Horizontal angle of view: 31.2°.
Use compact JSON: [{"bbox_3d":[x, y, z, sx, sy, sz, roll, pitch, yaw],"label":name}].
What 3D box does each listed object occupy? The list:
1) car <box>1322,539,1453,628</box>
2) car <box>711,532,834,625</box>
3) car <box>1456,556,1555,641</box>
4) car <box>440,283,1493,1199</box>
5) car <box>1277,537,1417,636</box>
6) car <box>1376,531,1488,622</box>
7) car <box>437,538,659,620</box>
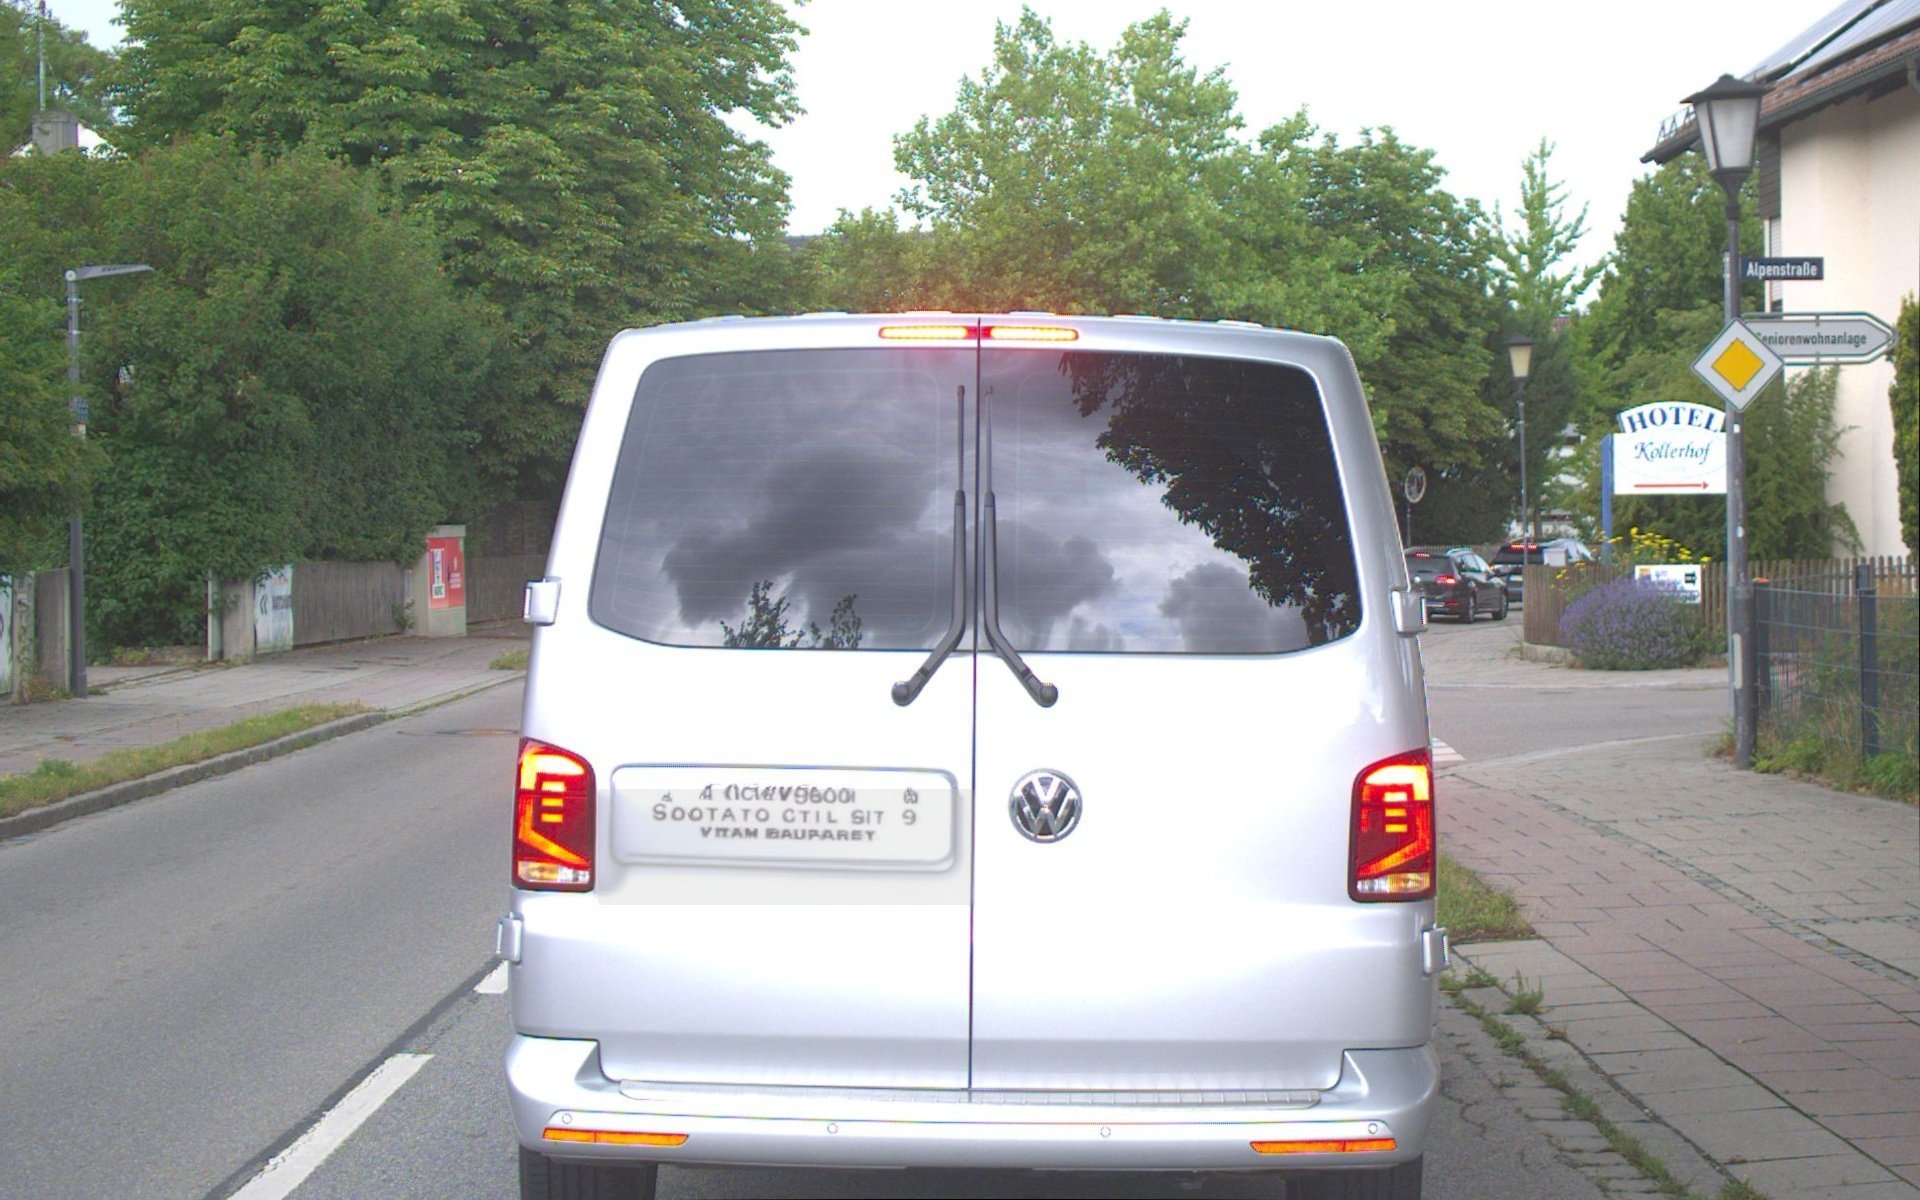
[{"bbox_3d":[7.680,-0.324,61.522,1.882,1.530,3.918,0,1,14],"label":"car"},{"bbox_3d":[-3.300,-0.400,61.225,1.930,1.569,4.312,1,1,0],"label":"car"},{"bbox_3d":[12.227,-0.063,76.895,1.882,1.819,3.918,0,1,14],"label":"car"},{"bbox_3d":[0.032,0.370,8.136,1.881,1.934,3.921,0,1,1],"label":"car"},{"bbox_3d":[6.284,-0.240,55.505,1.882,1.530,3.919,0,1,12],"label":"car"},{"bbox_3d":[9.410,-0.491,68.383,1.882,1.742,4.078,0,1,12],"label":"car"},{"bbox_3d":[-7.600,-0.400,63.334,3.986,1.481,2.001,0,1,-8],"label":"car"}]
